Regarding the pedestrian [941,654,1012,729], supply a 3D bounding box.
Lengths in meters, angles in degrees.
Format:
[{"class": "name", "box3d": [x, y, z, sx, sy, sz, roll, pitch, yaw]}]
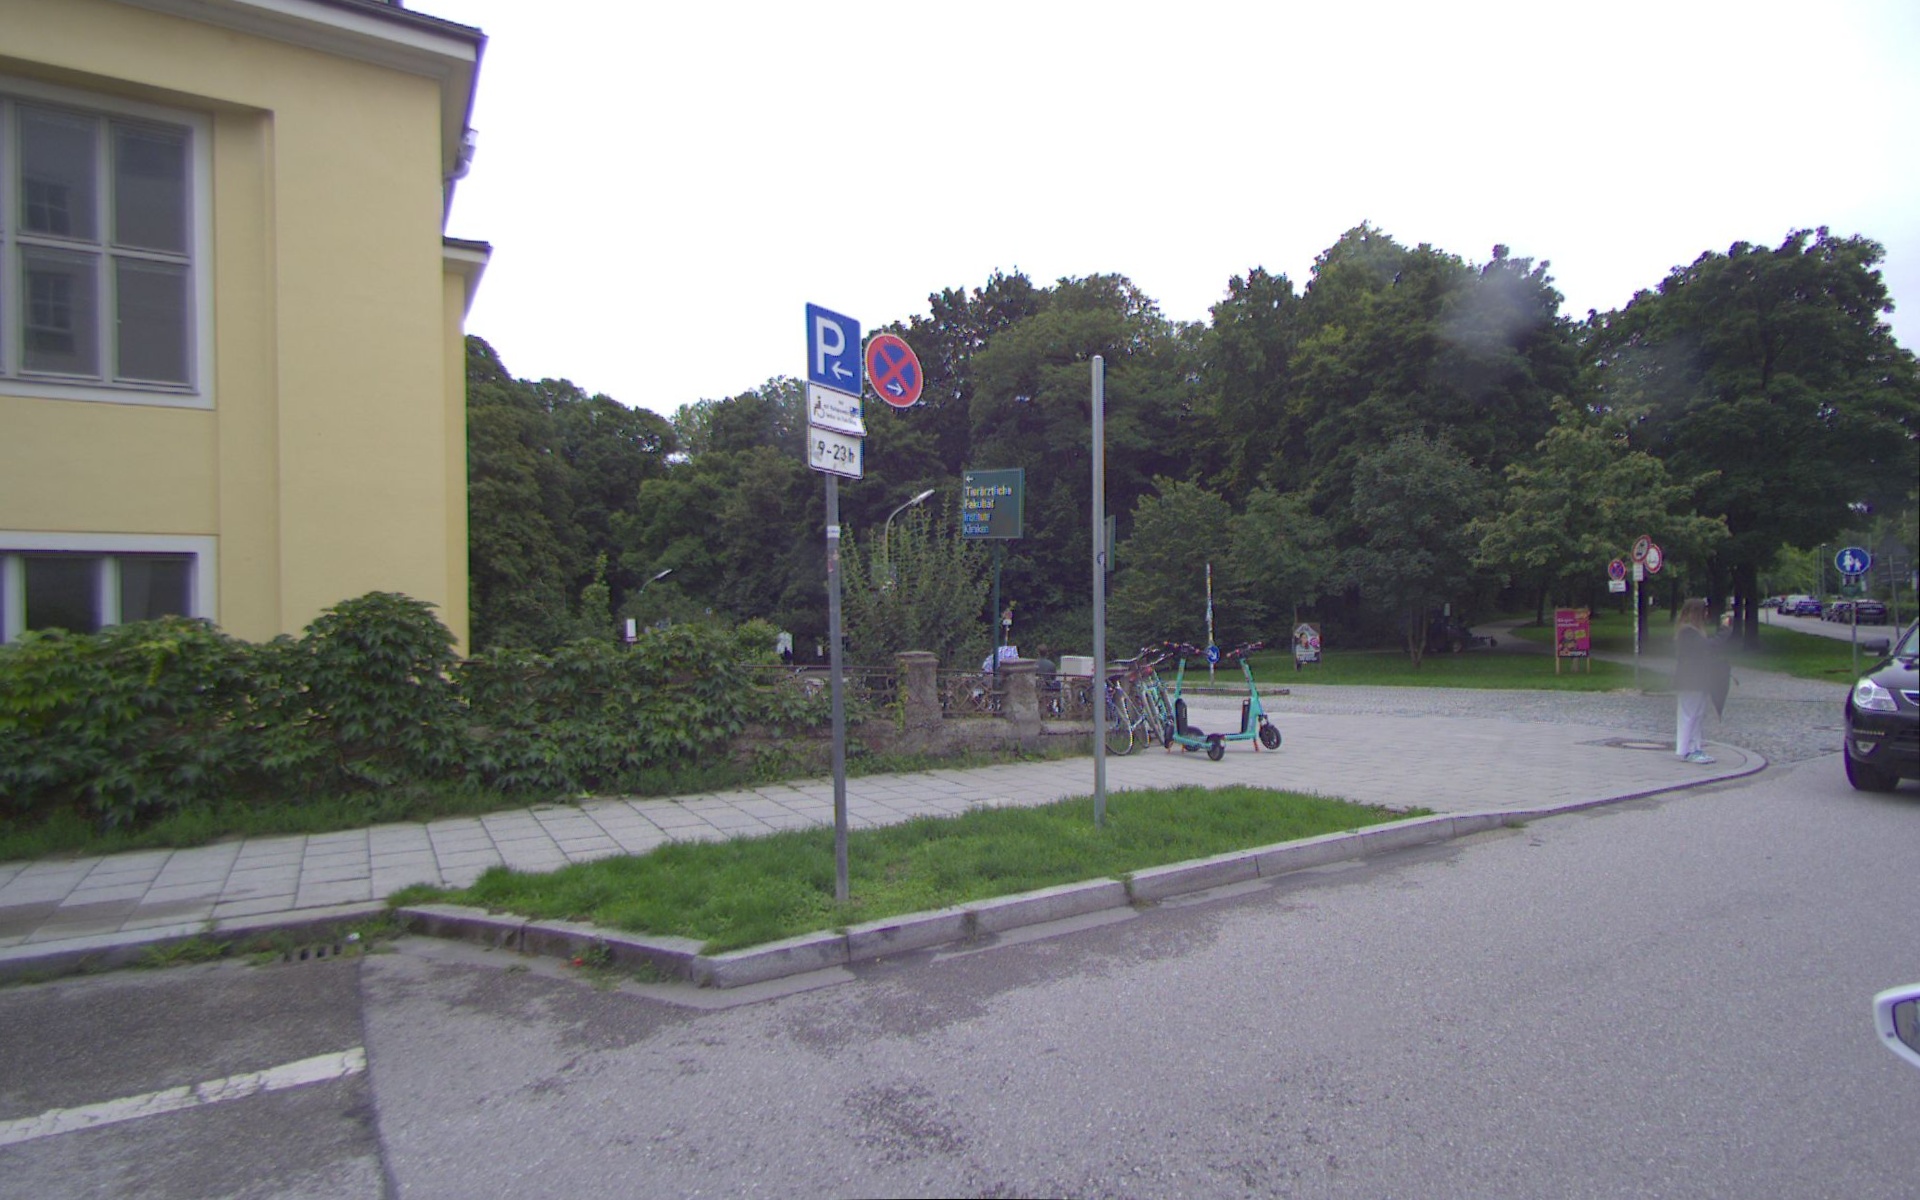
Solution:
[{"class": "pedestrian", "box3d": [0.329, 1.764, 19.683, 1.023, 1.353, 0.945, 0, 0, -38]}]

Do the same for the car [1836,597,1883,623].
[{"class": "car", "box3d": [61.263, 0.697, 68.462, 1.768, 1.702, 3.989, -1, -1, 33]}]

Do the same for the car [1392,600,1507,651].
[{"class": "car", "box3d": [20.349, 1.062, 41.869, 3.921, 2.040, 1.788, -1, -1, 0]}]

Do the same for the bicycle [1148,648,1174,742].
[{"class": "bicycle", "box3d": [2.579, 1.199, 12.936, 0.295, 1.126, 1.192, 0, -1, 10]}]

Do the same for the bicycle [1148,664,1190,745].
[{"class": "bicycle", "box3d": [2.832, 1.398, 13.687, 0.406, 0.990, 1.276, -1, -1, 5]}]

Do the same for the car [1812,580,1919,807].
[{"class": "car", "box3d": [9.390, 0.700, 8.770, 4.570, 1.742, 1.980, 0, -1, -36]}]

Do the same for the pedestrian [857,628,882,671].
[{"class": "pedestrian", "box3d": [-3.421, 1.853, 38.003, 0.683, 1.602, 0.746, -1, 0, -27]}]

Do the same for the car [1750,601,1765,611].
[{"class": "car", "box3d": [132.994, 1.040, 167.479, 1.781, 1.680, 4.228, -1, -1, 41]}]

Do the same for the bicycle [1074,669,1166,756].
[{"class": "bicycle", "box3d": [1.855, 1.260, 11.518, 0.428, 0.905, 1.324, 0, -2, 40]}]

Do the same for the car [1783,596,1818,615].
[{"class": "car", "box3d": [76.003, 0.495, 90.865, 1.966, 1.622, 4.242, -1, -1, 33]}]

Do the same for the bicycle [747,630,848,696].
[{"class": "bicycle", "box3d": [-4.498, 1.688, 27.585, 3.108, 1.684, 1.046, -1, -1, 43]}]

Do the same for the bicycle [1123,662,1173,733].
[{"class": "bicycle", "box3d": [2.879, 1.481, 15.471, 0.406, 0.990, 1.275, -1, -1, -5]}]

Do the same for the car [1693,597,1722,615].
[{"class": "car", "box3d": [70.730, 0.593, 95.058, 1.967, 1.622, 4.453, -1, -1, 34]}]

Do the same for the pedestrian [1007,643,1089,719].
[{"class": "pedestrian", "box3d": [1.612, 1.457, 18.422, 1.254, 1.285, 0.841, 0, 0, -38]}]

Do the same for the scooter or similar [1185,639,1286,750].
[{"class": "scooter or similar", "box3d": [3.183, 1.086, 11.639, 1.032, 1.228, 0.439, 1, -1, 1]}]

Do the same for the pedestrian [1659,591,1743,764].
[{"class": "pedestrian", "box3d": [7.668, 0.780, 10.391, 0.662, 1.719, 0.537, 0, -2, -43]}]

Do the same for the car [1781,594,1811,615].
[{"class": "car", "box3d": [81.708, 0.474, 98.222, 2.040, 1.992, 4.958, -1, -1, 37]}]

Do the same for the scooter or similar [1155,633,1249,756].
[{"class": "scooter or similar", "box3d": [2.667, 1.015, 11.165, 0.388, 1.260, 1.259, 2, -1, -19]}]
